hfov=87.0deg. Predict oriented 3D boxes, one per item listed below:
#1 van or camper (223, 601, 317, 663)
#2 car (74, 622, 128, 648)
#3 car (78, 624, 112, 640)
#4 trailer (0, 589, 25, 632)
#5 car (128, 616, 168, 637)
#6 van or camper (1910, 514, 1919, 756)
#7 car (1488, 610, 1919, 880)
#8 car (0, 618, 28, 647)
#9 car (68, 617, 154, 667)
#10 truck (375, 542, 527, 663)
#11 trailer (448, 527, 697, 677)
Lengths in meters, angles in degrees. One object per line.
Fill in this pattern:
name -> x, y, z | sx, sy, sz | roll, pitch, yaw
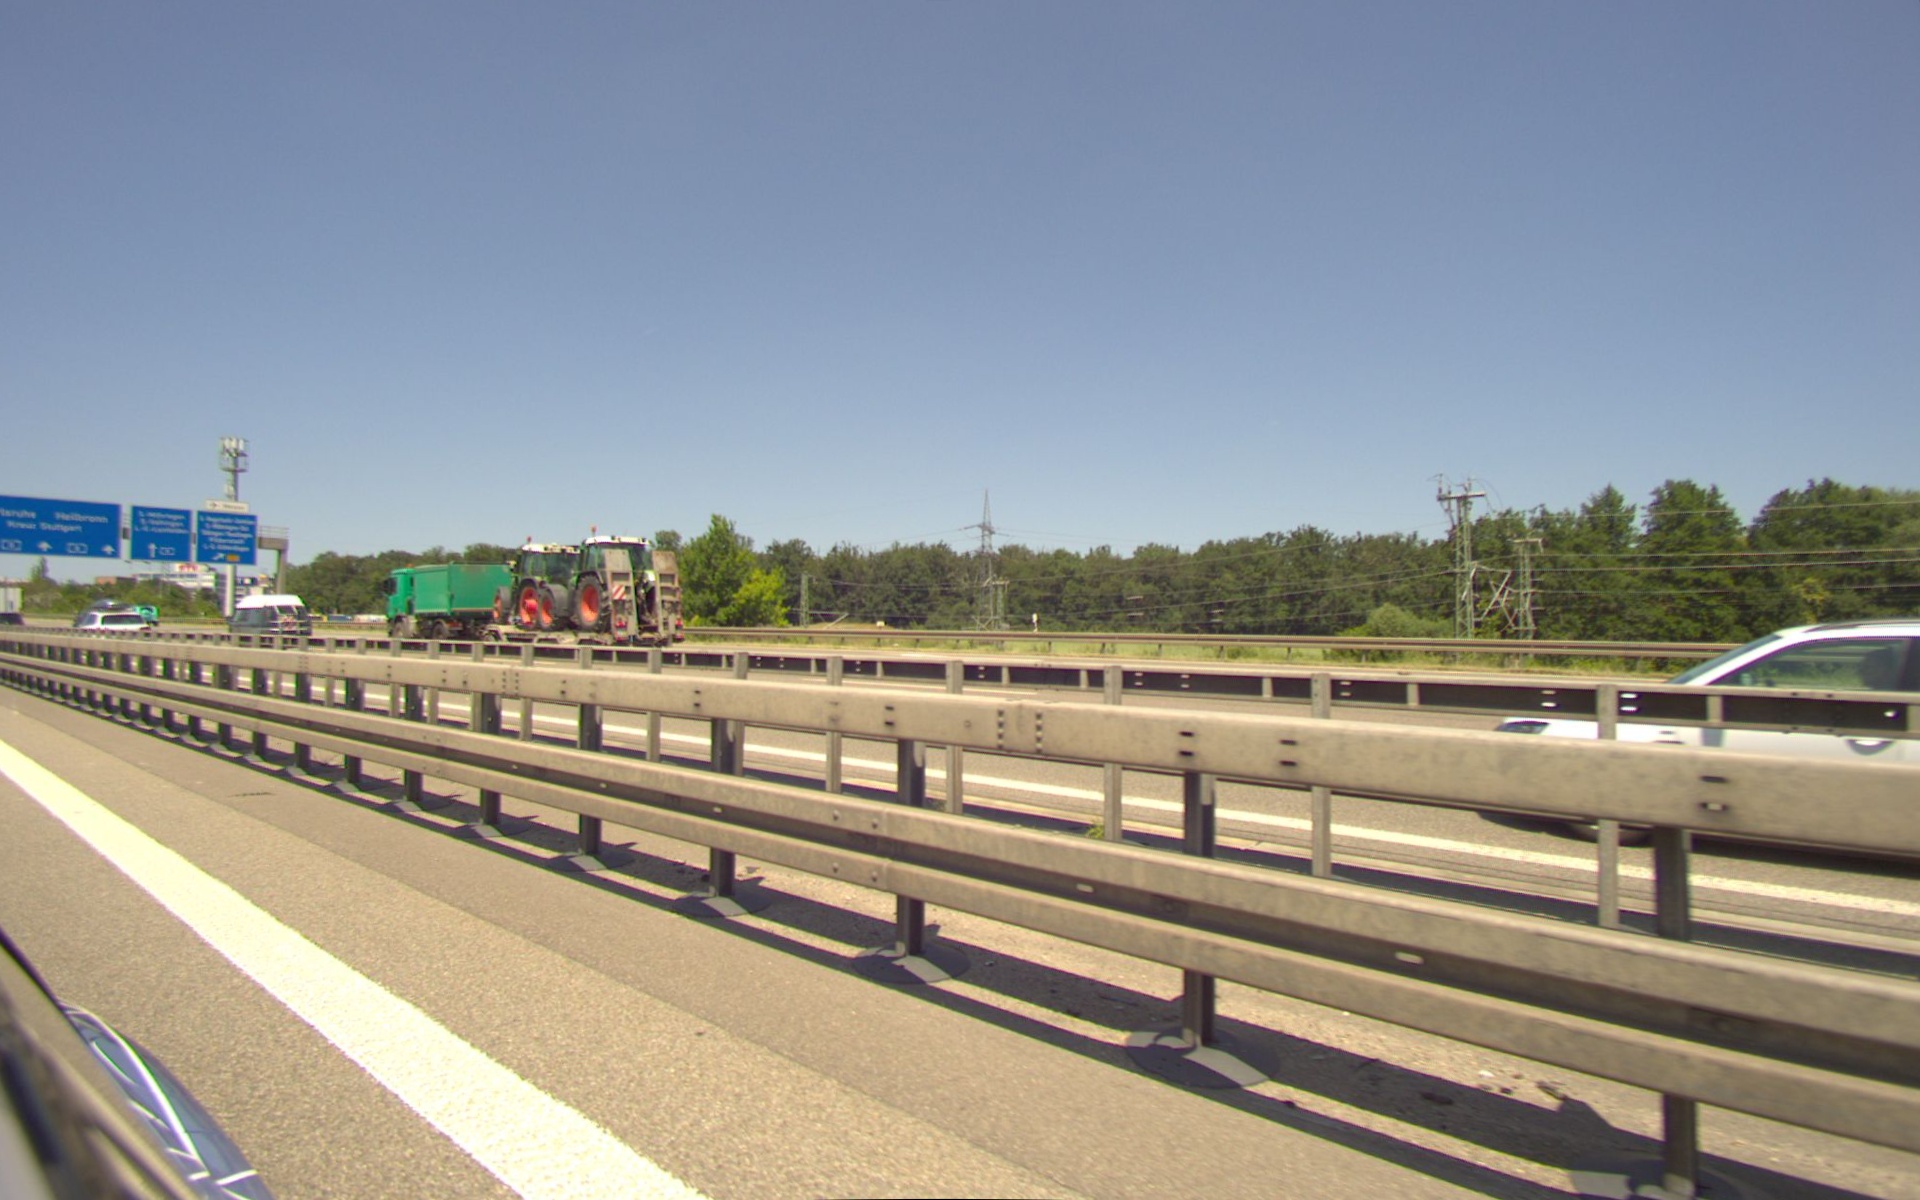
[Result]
van or camper -> -26.764, 1.213, 39.180 | 4.937, 2.238, 1.738 | -1, -1, 40
car -> -51.636, 2.083, 60.796 | 4.630, 1.492, 1.738 | -1, -1, 40
car -> -80.838, 2.989, 94.534 | 4.451, 1.436, 1.679 | -1, -1, 40
trailer -> -98.654, 1.034, 103.293 | 11.397, 4.224, 3.191 | 0, 0, 39
car -> -77.689, 2.563, 96.788 | 5.157, 1.929, 1.995 | -1, -1, 40
van or camper -> 11.272, 0.315, 7.599 | 5.891, 2.317, 1.973 | -1, -1, 41
car -> 5.854, 0.798, 6.126 | 4.435, 1.476, 1.681 | -1, -1, 41
car -> -59.674, 2.035, 63.086 | 4.717, 1.754, 1.738 | -1, -1, 40
car -> -33.313, 1.599, 39.662 | 4.836, 1.811, 1.789 | -1, -1, 40
truck -> -19.772, 0.085, 39.154 | 6.972, 4.277, 2.731 | 0, 0, 40
trailer -> -13.151, 0.061, 33.504 | 11.194, 4.277, 2.731 | 0, 0, 41
